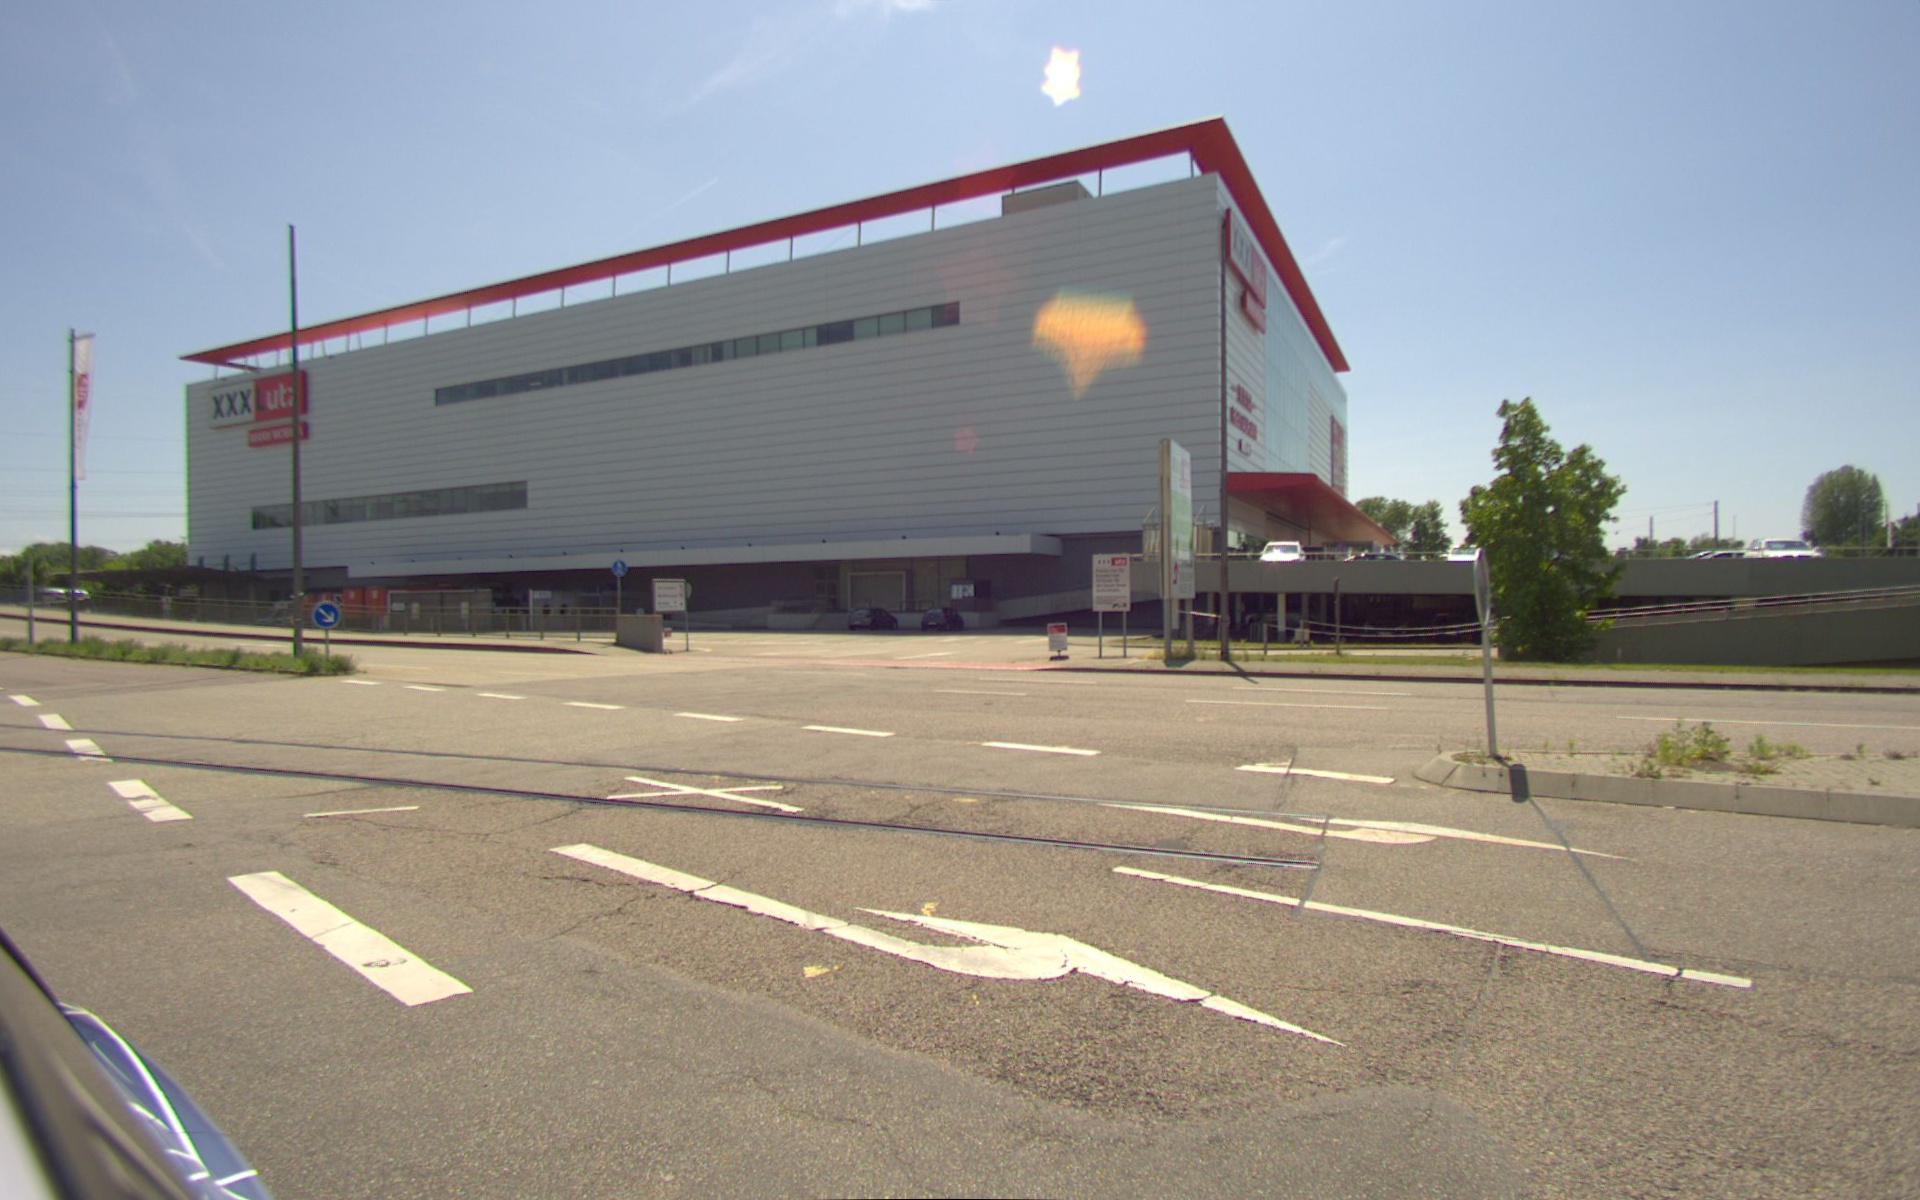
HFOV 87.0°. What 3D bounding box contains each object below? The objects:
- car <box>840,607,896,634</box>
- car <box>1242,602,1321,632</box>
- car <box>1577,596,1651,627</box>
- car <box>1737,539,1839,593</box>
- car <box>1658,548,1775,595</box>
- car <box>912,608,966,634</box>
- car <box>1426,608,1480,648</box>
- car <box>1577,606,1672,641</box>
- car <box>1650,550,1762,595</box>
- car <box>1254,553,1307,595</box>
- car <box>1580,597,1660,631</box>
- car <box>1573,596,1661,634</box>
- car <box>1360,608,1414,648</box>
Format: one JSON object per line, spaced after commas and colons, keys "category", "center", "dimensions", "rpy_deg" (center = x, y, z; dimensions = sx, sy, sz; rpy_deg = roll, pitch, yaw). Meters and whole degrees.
{"category": "car", "center": [-5.722, 1.250, 63.527], "dimensions": [1.901, 1.632, 3.718], "rpy_deg": [-1, -1, 25]}
{"category": "car", "center": [19.353, 1.018, 60.874], "dimensions": [4.384, 1.701, 1.986], "rpy_deg": [-1, -1, 22]}
{"category": "car", "center": [43.885, 0.782, 68.052], "dimensions": [3.982, 2.029, 1.981], "rpy_deg": [-1, -1, 29]}
{"category": "car", "center": [29.829, -1.170, 36.599], "dimensions": [1.990, 1.781, 4.162], "rpy_deg": [-1, -1, 27]}
{"category": "car", "center": [34.904, -1.276, 46.837], "dimensions": [3.979, 2.029, 1.982], "rpy_deg": [-1, -1, 26]}
{"category": "car", "center": [-1.238, 1.278, 61.471], "dimensions": [1.949, 1.506, 3.455], "rpy_deg": [-1, -1, 26]}
{"category": "car", "center": [21.375, 1.162, 43.936], "dimensions": [1.989, 1.651, 3.965], "rpy_deg": [-1, -1, 26]}
{"category": "car", "center": [34.627, 1.196, 52.869], "dimensions": [3.984, 1.741, 1.980], "rpy_deg": [-1, -1, 30]}
{"category": "car", "center": [35.902, -1.265, 48.839], "dimensions": [3.979, 2.029, 1.982], "rpy_deg": [-1, -1, 26]}
{"category": "car", "center": [13.880, -1.074, 43.701], "dimensions": [1.699, 1.709, 3.451], "rpy_deg": [0, 0, 26]}
{"category": "car", "center": [40.223, 0.858, 61.788], "dimensions": [3.984, 2.029, 1.979], "rpy_deg": [-1, -1, 30]}
{"category": "car", "center": [36.698, 0.850, 56.648], "dimensions": [3.986, 2.029, 1.979], "rpy_deg": [-1, -1, 31]}
{"category": "car", "center": [18.858, 1.197, 44.577], "dimensions": [1.989, 1.626, 3.965], "rpy_deg": [-1, -1, 26]}
